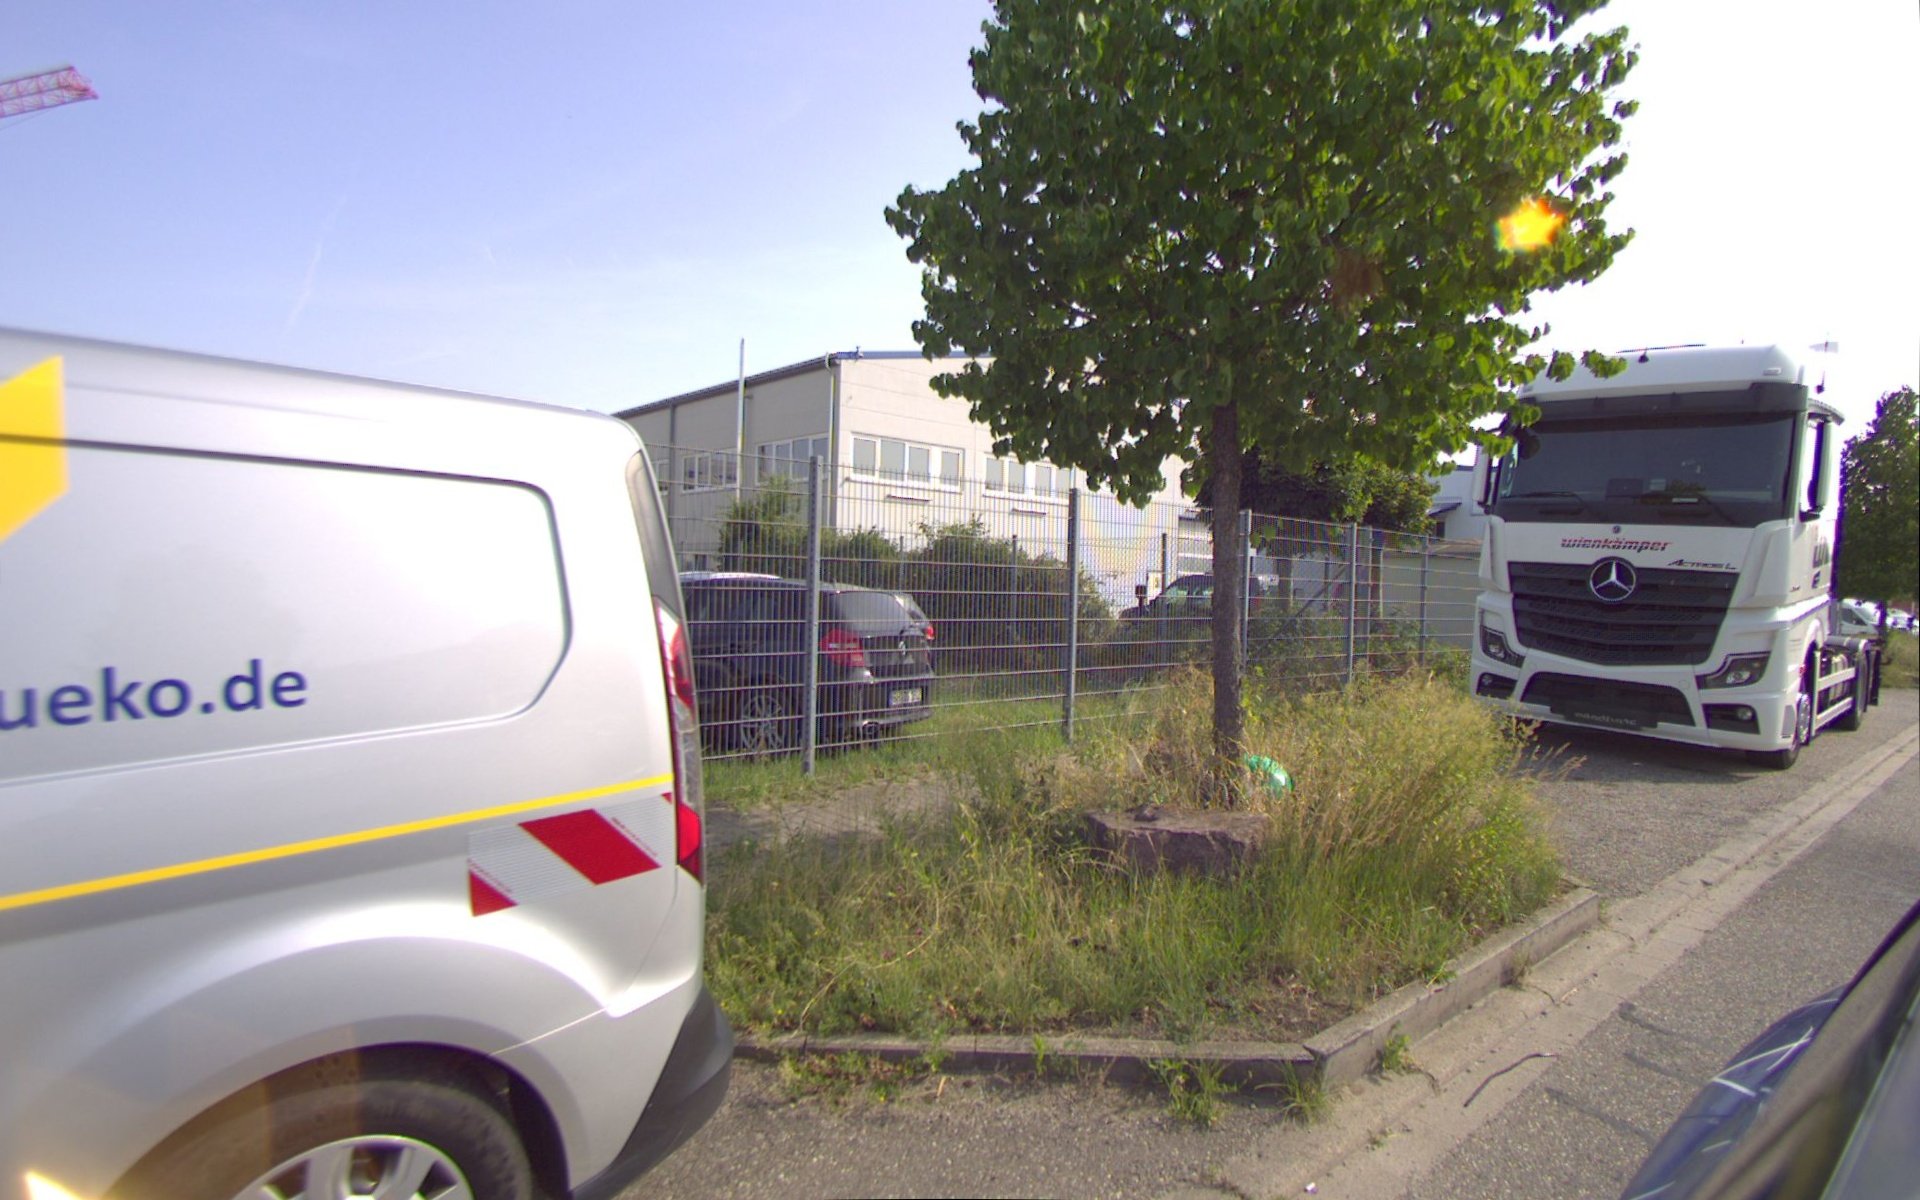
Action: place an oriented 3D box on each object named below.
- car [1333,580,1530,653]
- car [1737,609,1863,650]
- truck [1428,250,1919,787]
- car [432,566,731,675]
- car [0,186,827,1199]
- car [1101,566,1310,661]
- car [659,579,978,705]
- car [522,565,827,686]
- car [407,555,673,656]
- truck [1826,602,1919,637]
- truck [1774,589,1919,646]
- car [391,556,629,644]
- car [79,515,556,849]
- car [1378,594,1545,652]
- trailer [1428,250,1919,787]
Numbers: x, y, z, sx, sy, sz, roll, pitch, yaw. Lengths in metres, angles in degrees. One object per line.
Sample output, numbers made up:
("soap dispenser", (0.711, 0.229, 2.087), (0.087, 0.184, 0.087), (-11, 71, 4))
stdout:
("car", (12.831, 0.402, 27.723), (1.967, 1.743, 4.488), (1, 1, -45))
("car", (36.125, 1.232, 43.670), (1.860, 1.516, 4.005), (2, 1, -6))
("truck", (9.062, -0.619, 11.896), (9.519, 4.064, 2.751), (1, 3, -42))
("car", (-6.226, 0.314, 17.006), (1.889, 1.576, 4.301), (2, 1, 43))
("car", (-2.638, 0.362, 1.373), (4.518, 1.812, 1.998), (0, 1, -40))
("car", (5.280, 0.229, 22.141), (1.879, 1.858, 4.096), (1, 1, -42))
("car", (-1.851, 0.502, 13.863), (3.929, 1.450, 1.889), (1, 1, -40))
("car", (-4.212, 0.344, 15.342), (1.889, 1.576, 4.036), (2, 1, 44))
("car", (-7.928, 0.095, 19.397), (1.889, 1.712, 4.301), (2, 1, 43))
("truck", (60.630, 1.271, 66.423), (2.230, 2.047, 5.837), (2, 1, -4))
("truck", (45.182, 0.829, 51.267), (2.229, 2.562, 6.223), (2, 1, -9))
("car", (-9.609, 0.002, 21.855), (1.889, 1.712, 4.301), (2, 1, 43))
("car", (-4.359, 0.366, 6.587), (3.988, 1.496, 1.762), (0, -1, 45))
("car", (14.627, 0.629, 29.701), (1.720, 1.480, 4.019), (1, 1, -36))
("trailer", (9.062, -0.619, 11.896), (9.519, 4.064, 2.751), (1, 3, -42))
